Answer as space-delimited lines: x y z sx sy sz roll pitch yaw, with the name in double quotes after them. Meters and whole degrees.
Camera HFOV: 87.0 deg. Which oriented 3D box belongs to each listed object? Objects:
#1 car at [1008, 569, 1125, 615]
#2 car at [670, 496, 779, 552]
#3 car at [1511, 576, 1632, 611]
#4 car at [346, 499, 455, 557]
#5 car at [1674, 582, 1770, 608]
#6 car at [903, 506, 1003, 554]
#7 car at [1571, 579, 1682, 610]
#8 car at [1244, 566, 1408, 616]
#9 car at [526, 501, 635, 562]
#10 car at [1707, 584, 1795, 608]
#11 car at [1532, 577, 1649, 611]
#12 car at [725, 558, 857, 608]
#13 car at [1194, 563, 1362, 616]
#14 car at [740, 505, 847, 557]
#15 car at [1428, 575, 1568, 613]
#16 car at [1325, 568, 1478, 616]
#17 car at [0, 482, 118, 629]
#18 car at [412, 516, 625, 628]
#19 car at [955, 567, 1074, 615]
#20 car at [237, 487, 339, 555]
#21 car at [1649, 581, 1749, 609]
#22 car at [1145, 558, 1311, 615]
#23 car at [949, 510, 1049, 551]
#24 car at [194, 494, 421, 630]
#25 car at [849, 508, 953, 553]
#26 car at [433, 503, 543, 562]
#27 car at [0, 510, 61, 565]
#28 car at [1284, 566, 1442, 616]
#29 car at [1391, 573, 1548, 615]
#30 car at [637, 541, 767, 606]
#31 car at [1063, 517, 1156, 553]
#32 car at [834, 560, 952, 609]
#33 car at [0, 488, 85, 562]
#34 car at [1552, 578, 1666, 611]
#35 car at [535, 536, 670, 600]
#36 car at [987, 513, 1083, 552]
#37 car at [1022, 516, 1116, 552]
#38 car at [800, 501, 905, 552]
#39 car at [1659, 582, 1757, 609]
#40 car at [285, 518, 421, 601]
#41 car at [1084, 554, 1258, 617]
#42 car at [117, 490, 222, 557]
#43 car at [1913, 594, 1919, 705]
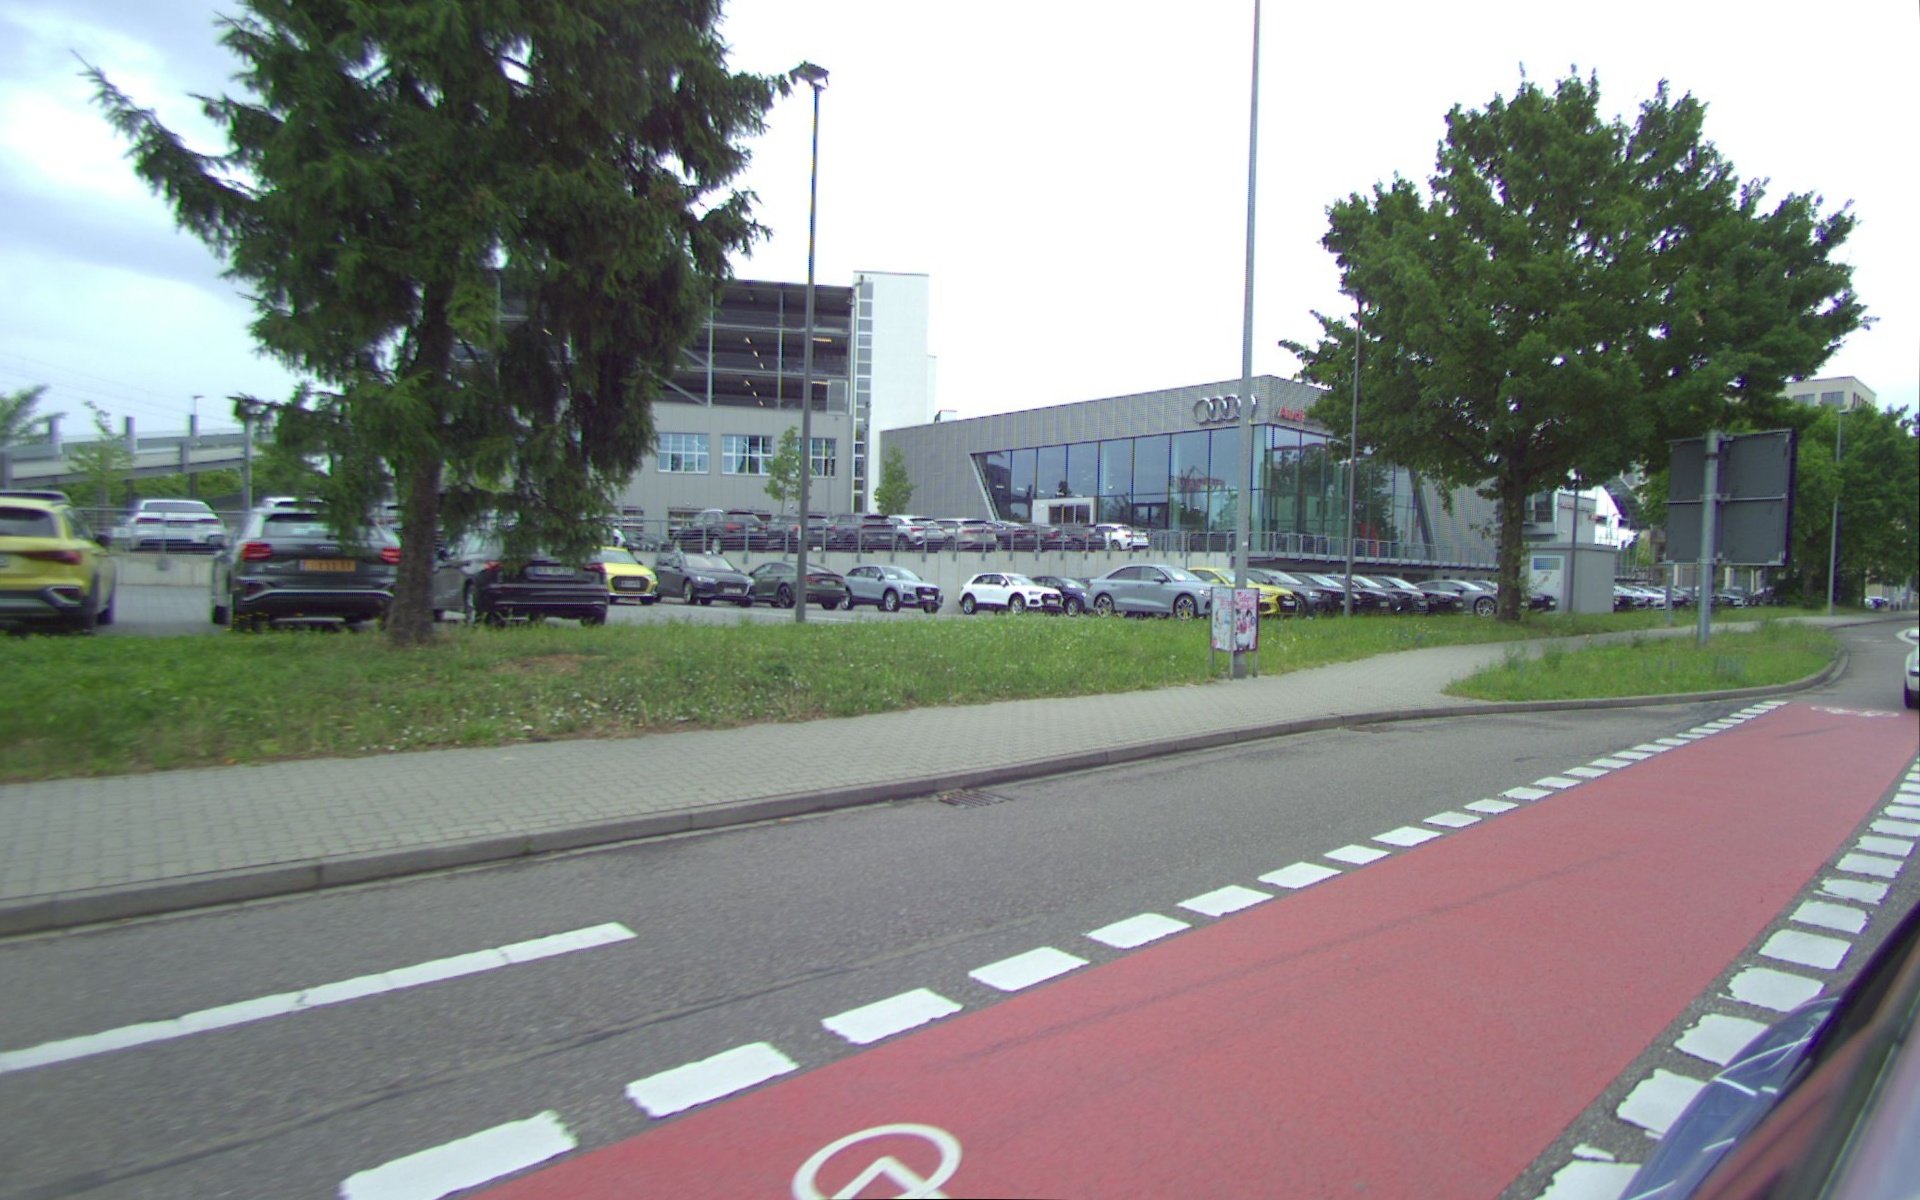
3.939 -0.276 38.068 1.868 1.621 4.306 0 -1 -39 "car"
-8.153 -2.558 34.801 1.827 1.546 4.303 0 -1 -41 "car"
25.795 -0.232 42.773 1.697 1.410 4.038 0 -1 -40 "car"
-15.761 -1.965 28.399 1.800 1.263 4.303 0 -1 -41 "car"
42.985 -0.256 57.166 1.697 1.410 4.038 0 -1 -40 "car"
-0.341 -2.803 41.417 1.861 1.612 4.307 0 -1 -38 "car"
31.252 -0.224 47.533 1.697 1.410 4.038 0 -1 -40 "car"
10.905 -0.224 30.377 1.805 1.396 4.305 0 -1 -40 "car"
-11.927 -2.078 31.642 1.800 1.554 4.303 0 -1 -41 "car"
48.989 -0.251 62.726 1.697 1.410 4.038 0 -1 -40 "car"
27.575 -0.241 44.351 1.697 1.410 4.038 0 -1 -40 "car"
-5.136 -0.533 30.344 1.869 1.344 4.304 2 1 -42 "car"
8.891 -0.259 28.584 1.708 1.375 4.305 0 -1 -40 "car"
-6.065 -2.438 36.563 1.800 1.545 4.303 0 -1 -41 "car"
20.305 -0.190 38.322 1.830 1.333 4.305 0 -1 -40 "car"
14.575 -0.230 33.590 1.811 1.463 4.305 0 -1 -40 "car"
-10.492 -0.403 11.080 1.777 1.396 4.005 0 -1 -38 "car"
-6.469 -0.330 14.600 1.868 1.371 4.001 0 -1 -39 "car"
1.892 -0.364 36.471 1.868 1.621 4.307 0 1 -39 "car"
-17.687 -2.001 26.562 1.670 1.400 4.303 0 -1 -41 "car"
39.452 -0.236 54.079 1.697 1.410 4.038 0 -1 -40 "car"
7.128 -0.315 27.214 1.763 1.395 4.054 0 -1 -39 "car"
1.599 -2.927 43.143 1.800 1.381 4.303 0 -1 -41 "car"
-8.304 -0.385 12.743 1.919 1.441 3.757 0 -1 -41 "car"
-2.376 -2.675 39.753 1.832 1.451 4.303 0 -1 -41 "car"
-13.905 -1.916 29.724 1.800 1.389 4.303 0 -1 -41 "car"
-34.802 -2.183 35.741 4.225 1.828 1.971 0 -1 -5 "car"
12.652 -0.250 31.986 1.811 1.463 4.305 0 -1 -40 "car"
18.445 -0.192 36.827 1.868 1.442 4.760 0 -1 -40 "car"
-7.169 -0.745 27.843 1.867 1.621 4.310 2 1 -37 "car"
7.147 -3.092 48.803 1.800 1.381 4.303 0 -1 -41 "car"
-2.223 -0.461 32.746 1.868 1.478 3.914 0 -1 -39 "car"
-21.499 -1.672 23.470 1.800 1.391 4.303 0 -1 -41 "car"
29.385 -0.219 45.889 1.697 1.410 4.038 0 -1 -40 "car"
-9.317 -0.804 26.160 1.869 1.525 4.306 0 1 -40 "car"
3.313 -2.976 45.293 1.800 1.381 4.303 0 -1 -41 "car"
5.031 -3.030 47.079 1.800 1.381 4.303 0 -1 -41 "car"
-4.102 -2.708 38.076 1.800 1.531 4.303 0 -1 -41 "car"
41.030 -0.232 55.550 1.697 1.410 4.038 0 -1 -40 "car"
-13.584 -0.890 22.526 1.868 1.621 4.306 2 1 -41 "car"
5.268 -0.321 25.731 1.708 1.450 4.196 0 -1 -40 "car"
-19.628 -1.817 25.054 1.800 1.306 4.303 0 -1 -41 "car"
14.462 0.660 13.784 3.871 1.442 1.725 0 1 -40 "car"
